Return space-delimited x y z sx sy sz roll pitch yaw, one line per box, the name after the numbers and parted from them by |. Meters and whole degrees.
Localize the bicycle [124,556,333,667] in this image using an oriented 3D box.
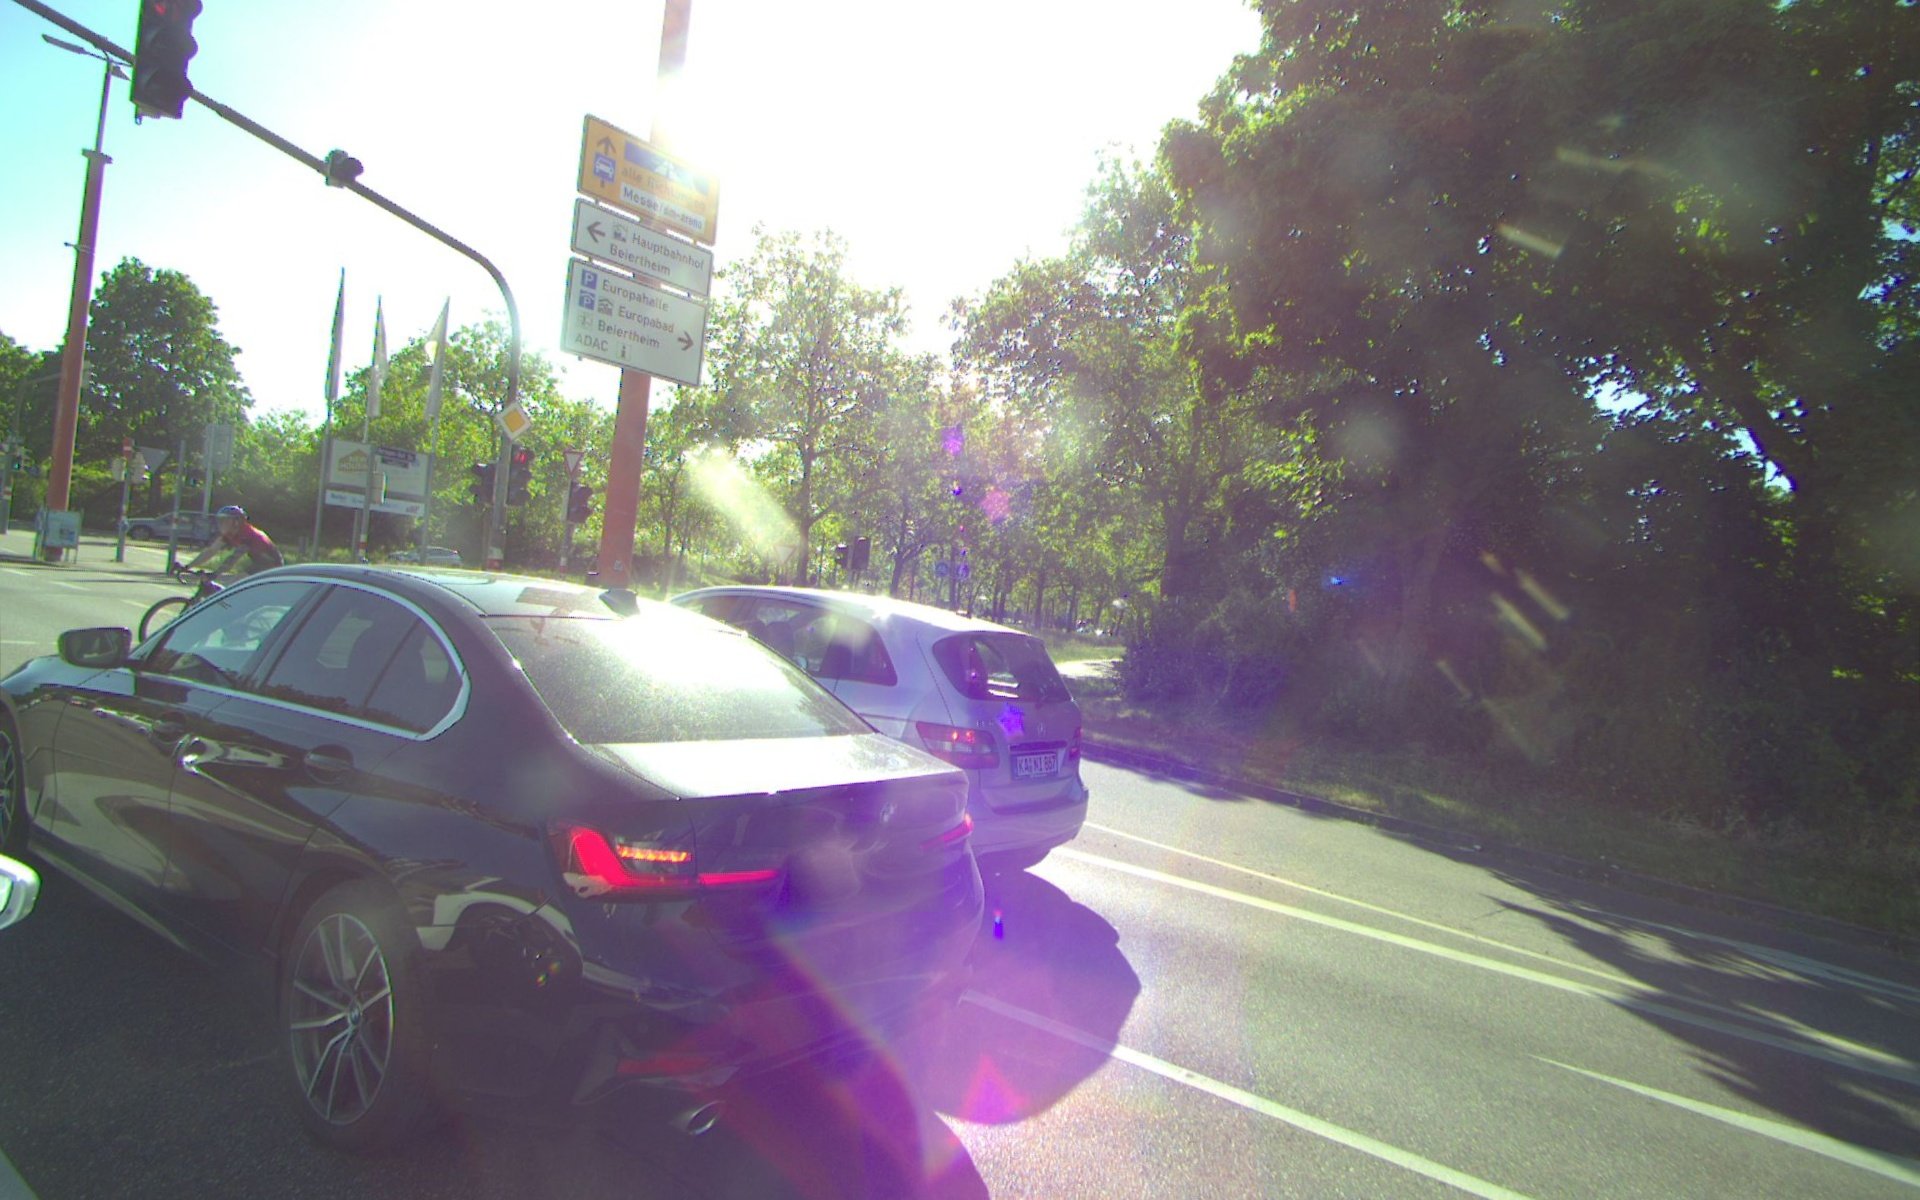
-8.152 0.149 11.334 0.709 1.070 1.833 7 -1 11 | bicycle

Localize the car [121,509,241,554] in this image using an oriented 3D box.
-36.969 -3.238 47.795 4.302 1.503 1.763 8 -1 -44 | car

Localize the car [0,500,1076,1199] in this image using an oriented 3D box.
-2.000 0.543 3.825 4.371 1.415 1.871 7 0 33 | car

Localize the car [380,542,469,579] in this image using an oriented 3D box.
-30.065 -2.197 56.558 1.659 1.485 3.980 7 -1 38 | car

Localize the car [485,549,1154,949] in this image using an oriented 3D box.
-1.018 0.706 6.478 3.963 1.597 1.741 7 0 33 | car

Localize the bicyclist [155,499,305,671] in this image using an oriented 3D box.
-8.129 -0.149 11.248 0.722 1.763 0.997 7 0 8 | bicyclist
